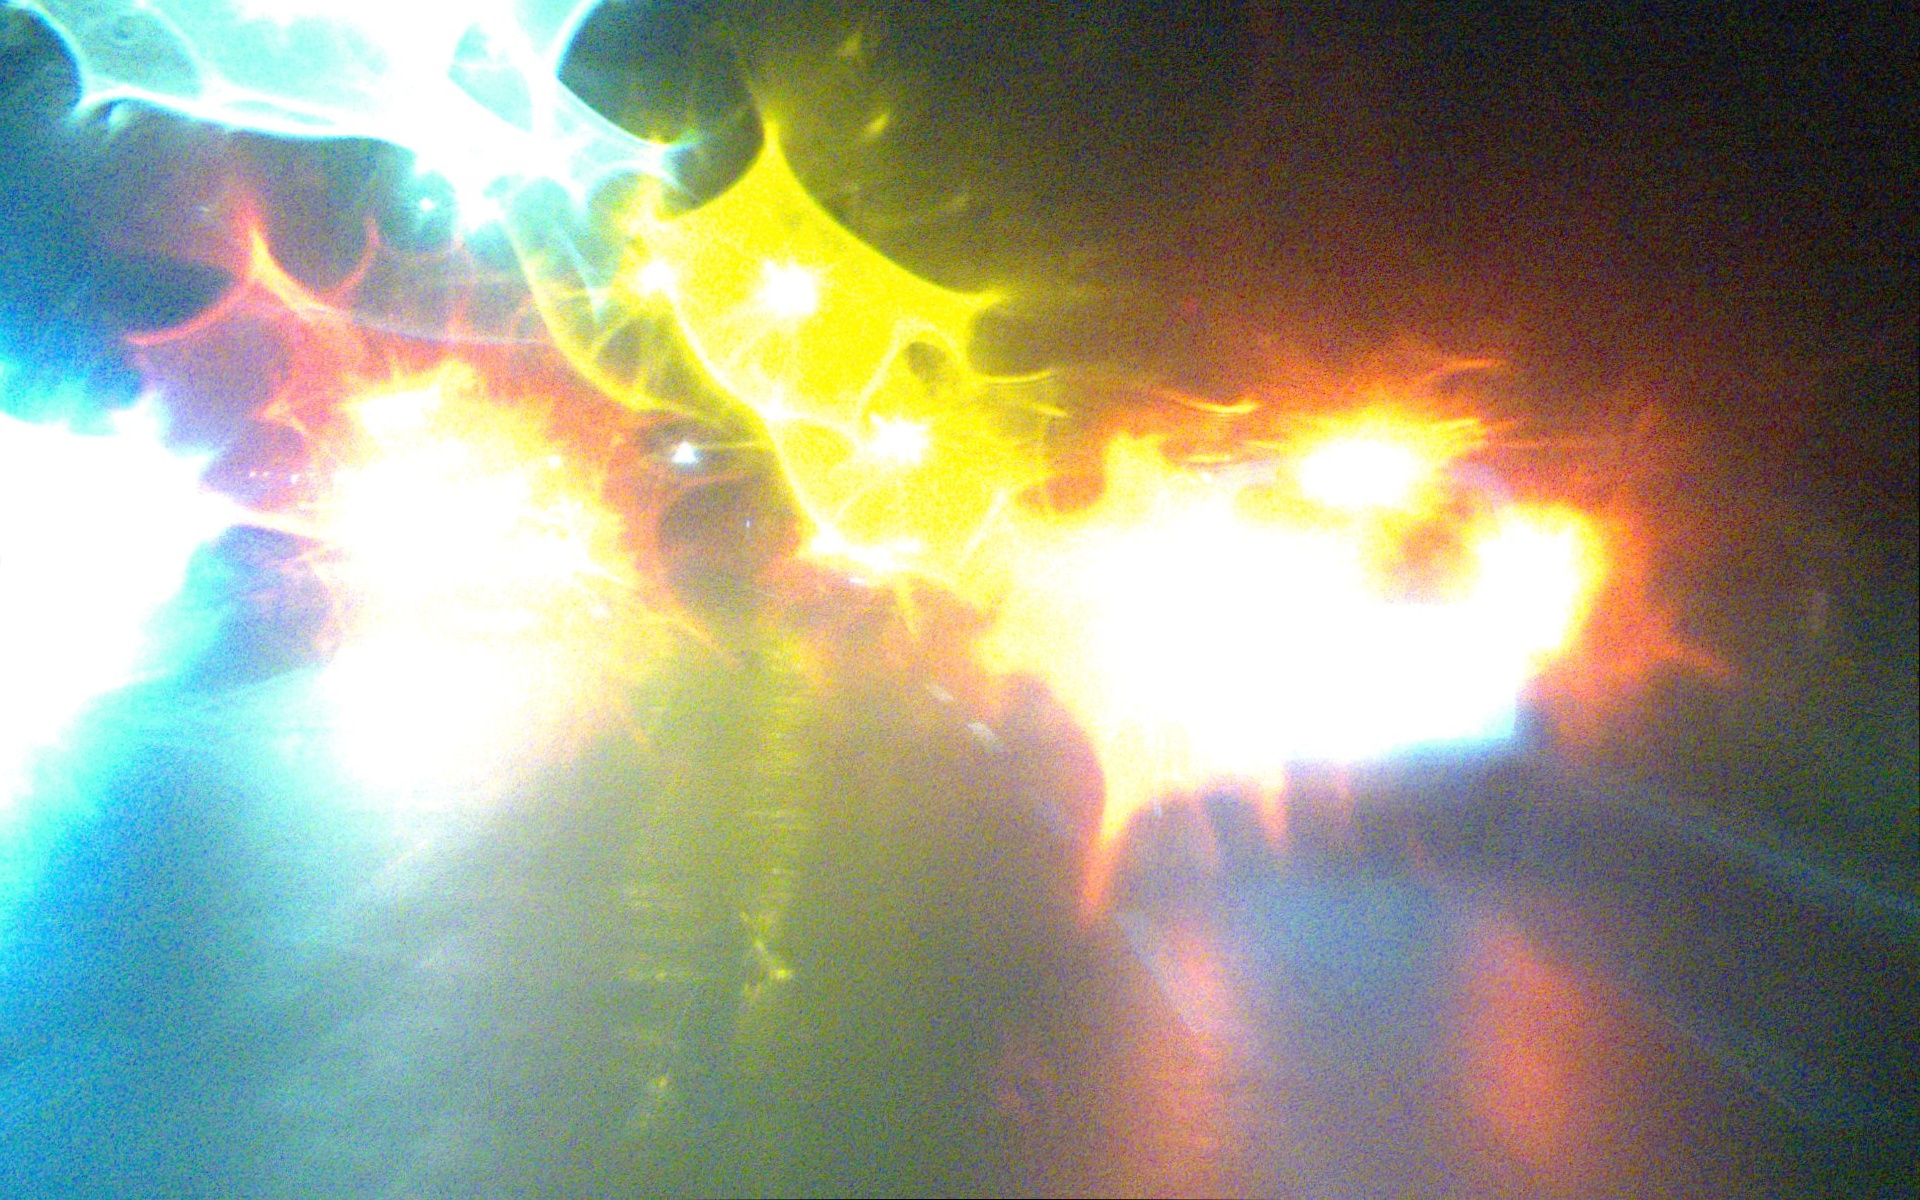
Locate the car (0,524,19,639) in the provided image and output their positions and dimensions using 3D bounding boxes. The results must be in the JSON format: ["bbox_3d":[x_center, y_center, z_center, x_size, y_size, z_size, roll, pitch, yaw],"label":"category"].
[{"bbox_3d":[-14.519,-0.270,48.416,1.761,1.636,4.654,2,1,-7],"label":"car"}]

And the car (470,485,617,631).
[{"bbox_3d":[-5.335,-0.578,44.325,1.783,1.776,4.437,0,2,-6],"label":"car"}]

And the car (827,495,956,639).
[{"bbox_3d":[-1.054,-0.519,50.707,1.791,2.015,4.580,0,1,-2],"label":"car"}]

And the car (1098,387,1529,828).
[{"bbox_3d":[1.717,-0.026,18.113,1.791,2.015,4.580,1,1,0],"label":"car"}]
